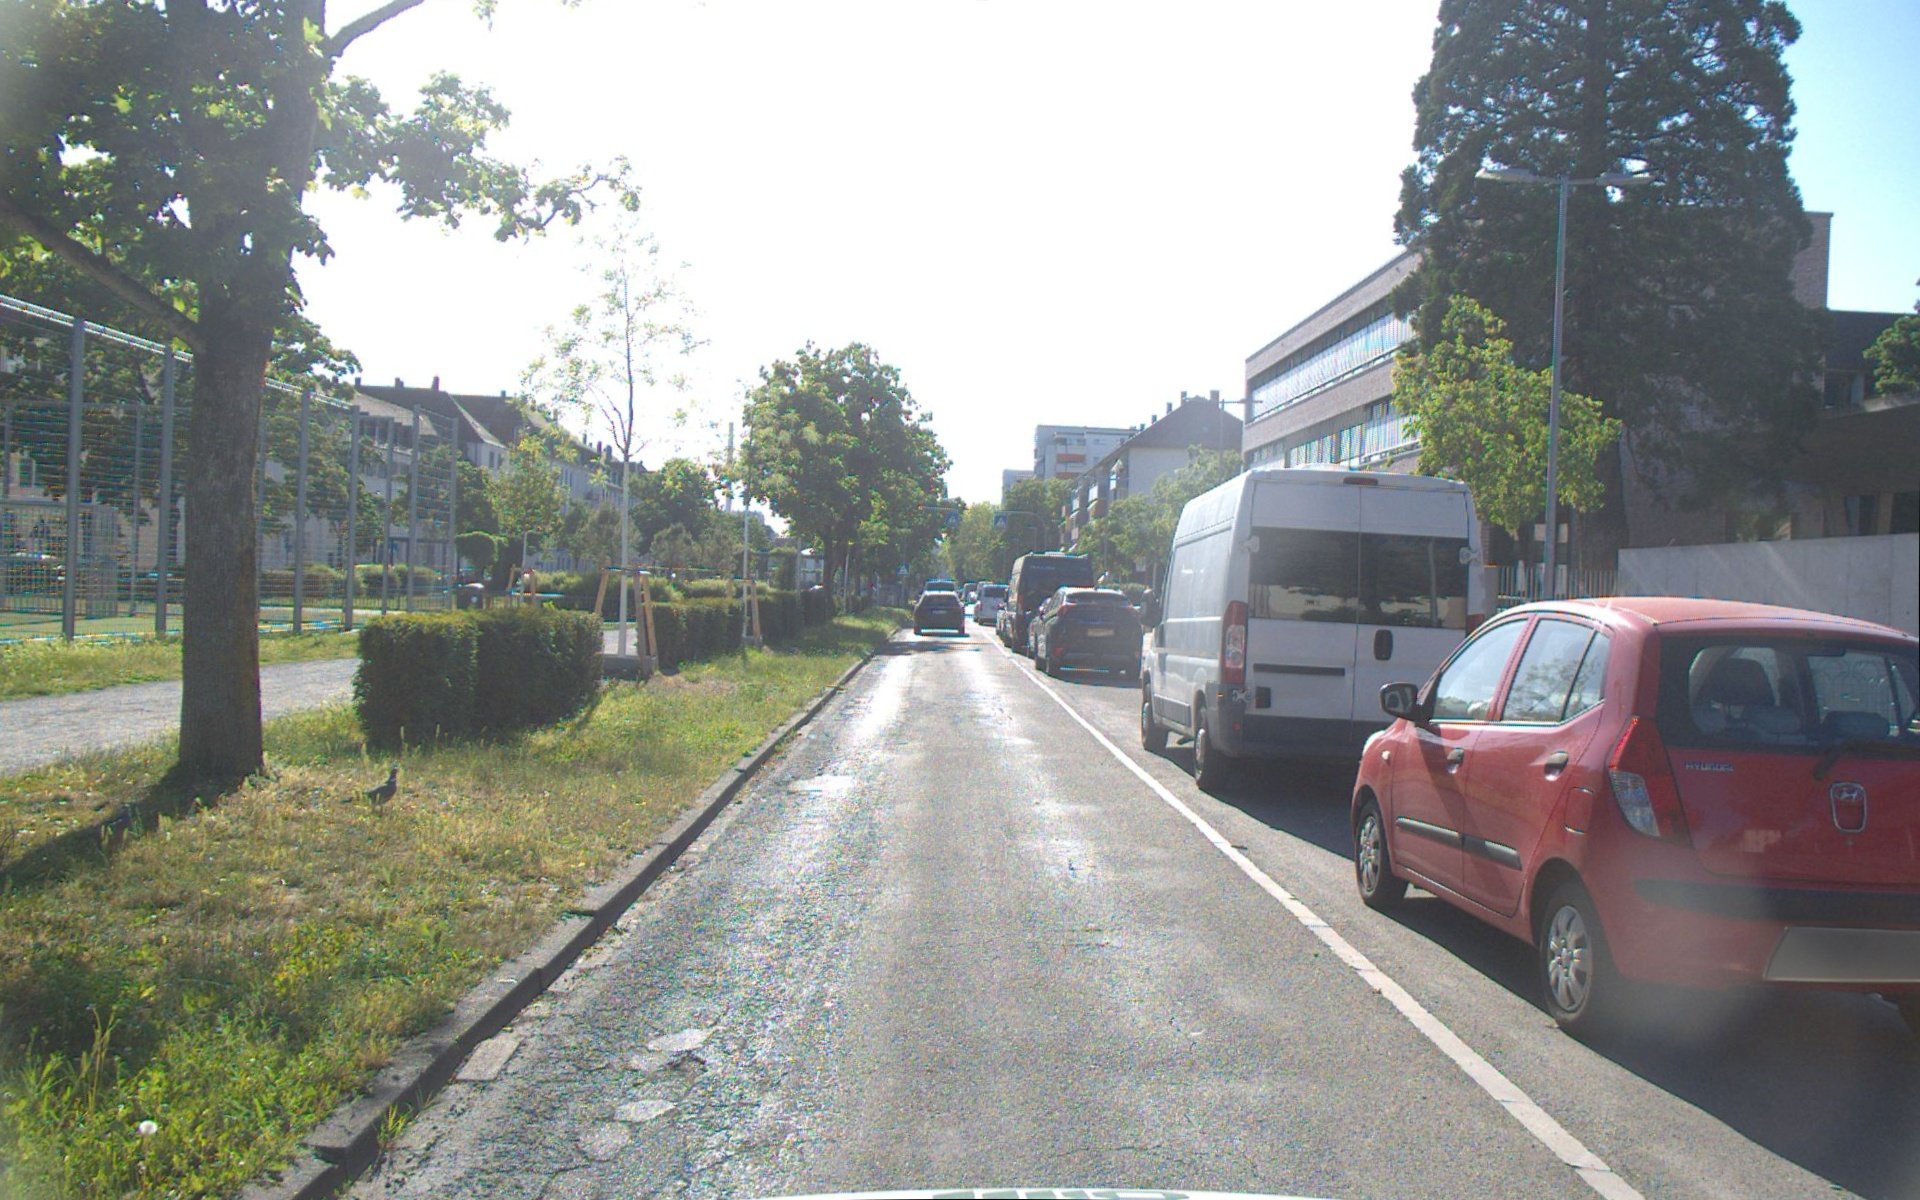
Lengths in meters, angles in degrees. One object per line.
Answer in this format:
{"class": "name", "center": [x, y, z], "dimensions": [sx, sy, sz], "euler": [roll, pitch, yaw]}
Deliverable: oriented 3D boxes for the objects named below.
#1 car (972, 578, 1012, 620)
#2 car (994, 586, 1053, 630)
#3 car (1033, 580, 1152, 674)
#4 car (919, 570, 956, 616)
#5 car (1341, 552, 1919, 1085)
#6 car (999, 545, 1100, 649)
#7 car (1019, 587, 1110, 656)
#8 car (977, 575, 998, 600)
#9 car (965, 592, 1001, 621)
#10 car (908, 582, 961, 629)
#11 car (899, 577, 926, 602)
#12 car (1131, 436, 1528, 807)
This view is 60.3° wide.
{"class": "car", "center": [1.514, -0.079, 78.143], "dimensions": [1.757, 1.887, 4.414], "euler": [2, 1, 1]}
{"class": "car", "center": [2.189, 0.250, 58.189], "dimensions": [1.758, 1.445, 4.656], "euler": [2, 0, -1]}
{"class": "car", "center": [2.510, 0.478, 32.432], "dimensions": [1.809, 1.669, 4.502], "euler": [2, 0, -2]}
{"class": "car", "center": [-1.113, -0.361, 82.308], "dimensions": [1.758, 2.159, 4.000], "euler": [2, 0, -1]}
{"class": "car", "center": [2.904, 0.664, 6.897], "dimensions": [1.587, 1.616, 3.590], "euler": [2, 1, -3]}
{"class": "car", "center": [2.323, -0.098, 44.667], "dimensions": [2.073, 2.559, 6.529], "euler": [2, 0, -2]}
{"class": "car", "center": [2.398, 0.469, 38.815], "dimensions": [1.758, 1.480, 3.949], "euler": [2, 0, -1]}
{"class": "car", "center": [2.894, -1.309, 176.553], "dimensions": [1.953, 2.472, 4.500], "euler": [4, 0, -1]}
{"class": "car", "center": [1.144, 0.320, 84.768], "dimensions": [1.729, 1.342, 4.167], "euler": [3, 0, 0]}
{"class": "car", "center": [-0.873, 0.171, 57.834], "dimensions": [1.758, 1.536, 4.000], "euler": [2, 0, -1]}
{"class": "car", "center": [-3.274, -0.736, 115.302], "dimensions": [1.758, 1.652, 4.000], "euler": [2, 0, -1]}
{"class": "car", "center": [2.986, 0.137, 14.825], "dimensions": [2.195, 2.619, 5.432], "euler": [3, 0, -1]}
